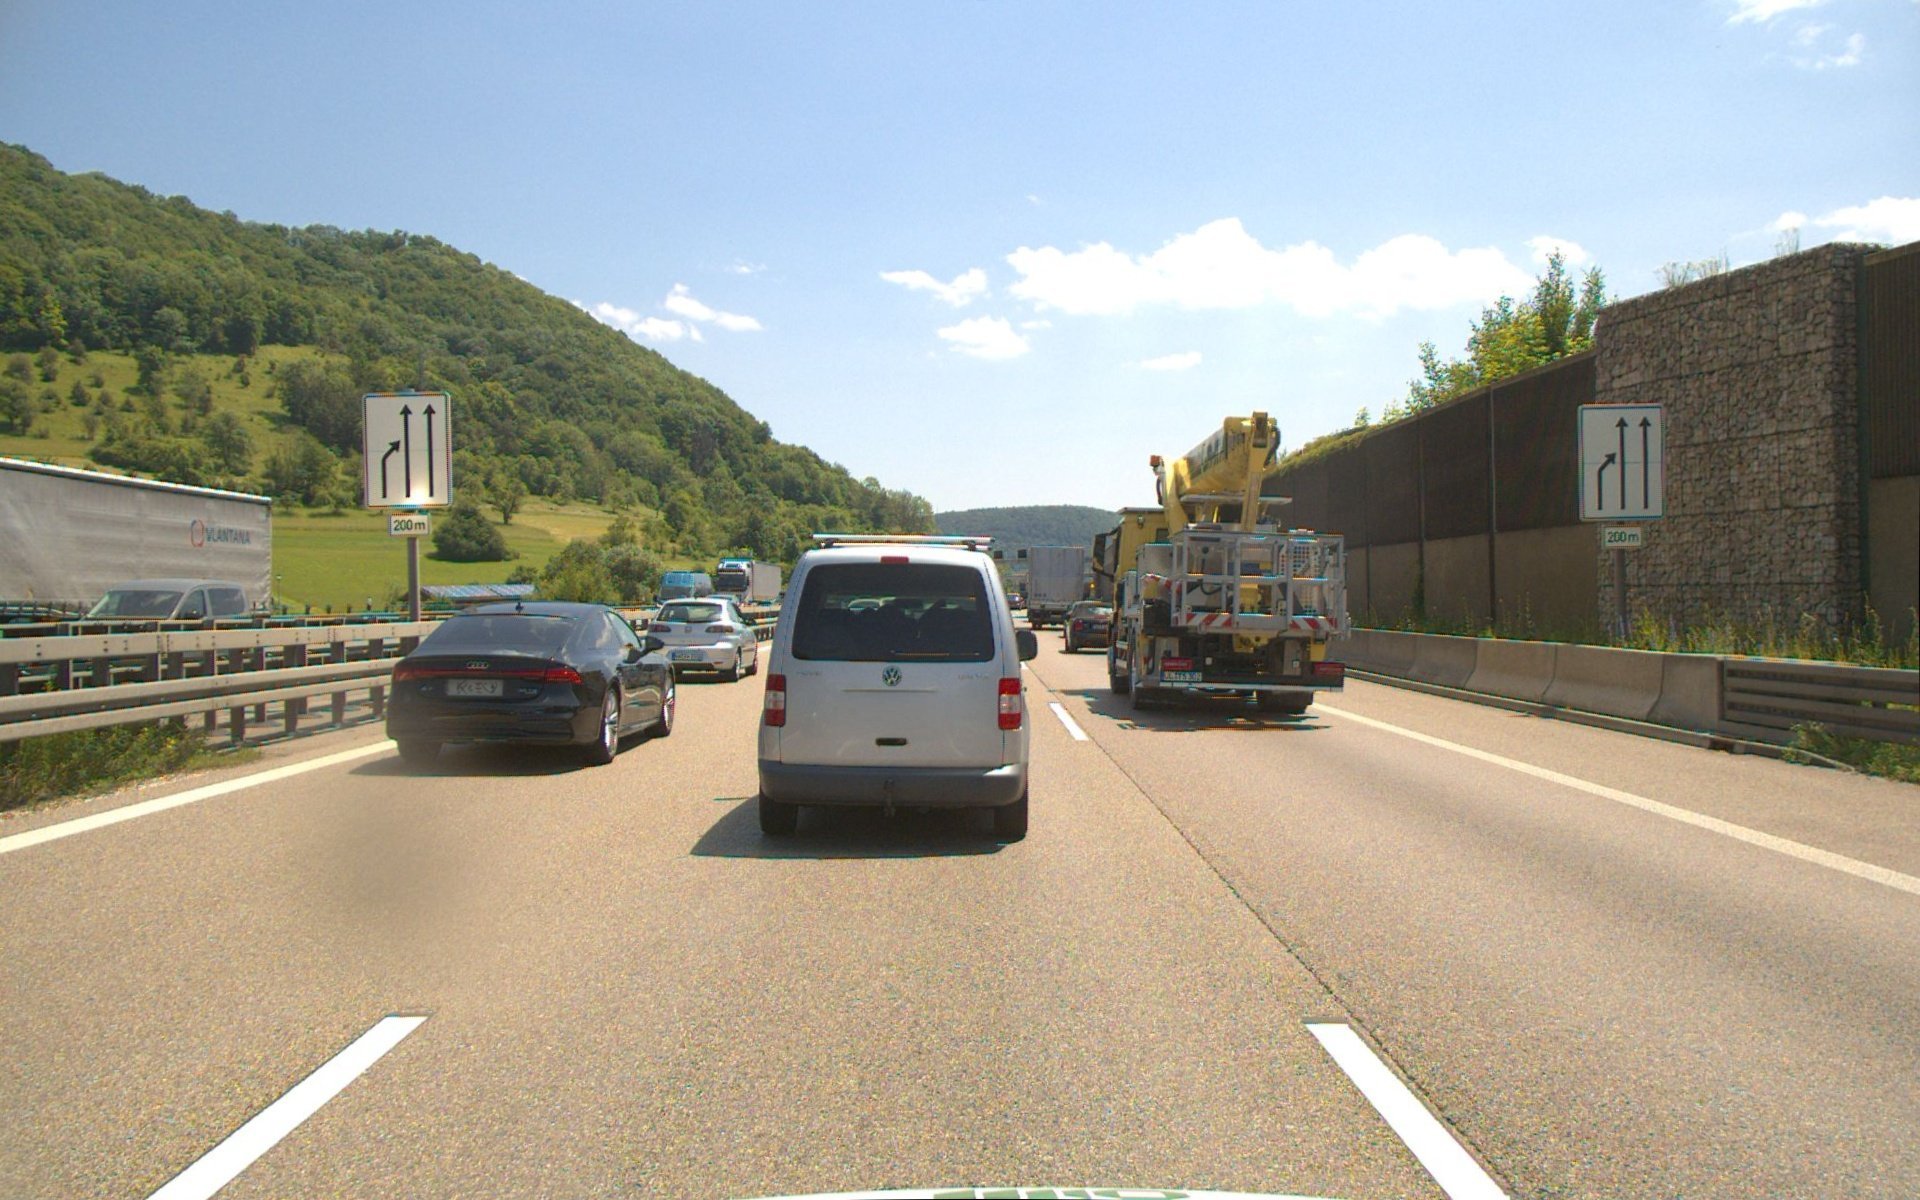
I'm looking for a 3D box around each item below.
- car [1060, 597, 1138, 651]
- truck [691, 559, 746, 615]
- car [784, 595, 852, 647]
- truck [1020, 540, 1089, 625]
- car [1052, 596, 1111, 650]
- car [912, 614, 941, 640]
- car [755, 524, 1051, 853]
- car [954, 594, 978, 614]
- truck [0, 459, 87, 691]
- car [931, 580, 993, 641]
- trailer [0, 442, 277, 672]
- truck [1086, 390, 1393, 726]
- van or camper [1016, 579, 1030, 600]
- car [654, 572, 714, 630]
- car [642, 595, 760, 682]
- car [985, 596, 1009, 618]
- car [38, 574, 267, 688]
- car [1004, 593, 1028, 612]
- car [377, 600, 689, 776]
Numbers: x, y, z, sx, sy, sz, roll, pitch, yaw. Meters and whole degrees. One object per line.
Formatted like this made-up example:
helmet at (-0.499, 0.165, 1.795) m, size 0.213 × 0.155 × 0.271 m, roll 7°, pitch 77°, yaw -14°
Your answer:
car at (3.935, 0.668, 47.317) m, size 1.750 × 1.484 × 3.769 m, roll 0°, pitch 0°, yaw -3°
truck at (-18.720, -0.941, 128.457) m, size 3.211 × 4.220 × 6.954 m, roll 1°, pitch 0°, yaw 0°
car at (-4.319, 0.618, 50.689) m, size 1.886 × 1.525 × 3.998 m, roll 1°, pitch 0°, yaw -3°
truck at (4.565, -0.787, 81.452) m, size 2.880 × 3.890 × 8.236 m, roll 1°, pitch 0°, yaw 0°
car at (4.761, 0.866, 65.249) m, size 1.953 × 2.049 × 3.999 m, roll 0°, pitch 0°, yaw -1°
car at (-2.494, 2.032, 124.004) m, size 2.071 × 1.859 × 4.000 m, roll 1°, pitch 0°, yaw 0°
car at (-0.414, 0.506, 11.601) m, size 1.721 × 1.900 × 3.998 m, roll 0°, pitch 0°, yaw -3°
car at (0.547, 0.431, 159.649) m, size 2.072 × 1.859 × 3.998 m, roll 1°, pitch 0°, yaw -3°
truck at (-19.251, -0.491, 30.224) m, size 2.741 × 4.306 × 7.230 m, roll 1°, pitch -1°, yaw -1°
car at (0.041, 0.342, 56.808) m, size 1.954 × 2.010 × 3.998 m, roll 0°, pitch 0°, yaw -3°
trailer at (-19.312, -0.781, 36.572) m, size 2.796 × 4.264 × 13.613 m, roll 1°, pitch 0°, yaw -1°
truck at (3.687, -0.507, 24.134) m, size 2.650 × 4.011 × 8.717 m, roll 0°, pitch 0°, yaw -3°
van or camper at (9.365, -1.496, 246.646) m, size 1.952 × 3.005 × 5.423 m, roll 1°, pitch -1°, yaw 0°
car at (-14.683, 0.075, 88.280) m, size 2.111 × 2.912 × 6.398 m, roll 1°, pitch 0°, yaw 0°
car at (-4.603, 0.647, 29.885) m, size 1.661 × 1.470 × 3.860 m, roll 0°, pitch 0°, yaw -2°
car at (3.100, 0.601, 140.374) m, size 1.952 × 1.779 × 4.000 m, roll 1°, pitch 0°, yaw 0°
car at (-14.504, 0.517, 30.010) m, size 1.953 × 1.885 × 4.406 m, roll 1°, pitch 0°, yaw 0°
car at (5.652, 0.266, 166.117) m, size 2.072 × 1.859 × 3.998 m, roll 1°, pitch 0°, yaw -3°
car at (-3.882, 0.717, 15.939) m, size 1.764 × 1.415 × 4.968 m, roll 0°, pitch 0°, yaw -1°
